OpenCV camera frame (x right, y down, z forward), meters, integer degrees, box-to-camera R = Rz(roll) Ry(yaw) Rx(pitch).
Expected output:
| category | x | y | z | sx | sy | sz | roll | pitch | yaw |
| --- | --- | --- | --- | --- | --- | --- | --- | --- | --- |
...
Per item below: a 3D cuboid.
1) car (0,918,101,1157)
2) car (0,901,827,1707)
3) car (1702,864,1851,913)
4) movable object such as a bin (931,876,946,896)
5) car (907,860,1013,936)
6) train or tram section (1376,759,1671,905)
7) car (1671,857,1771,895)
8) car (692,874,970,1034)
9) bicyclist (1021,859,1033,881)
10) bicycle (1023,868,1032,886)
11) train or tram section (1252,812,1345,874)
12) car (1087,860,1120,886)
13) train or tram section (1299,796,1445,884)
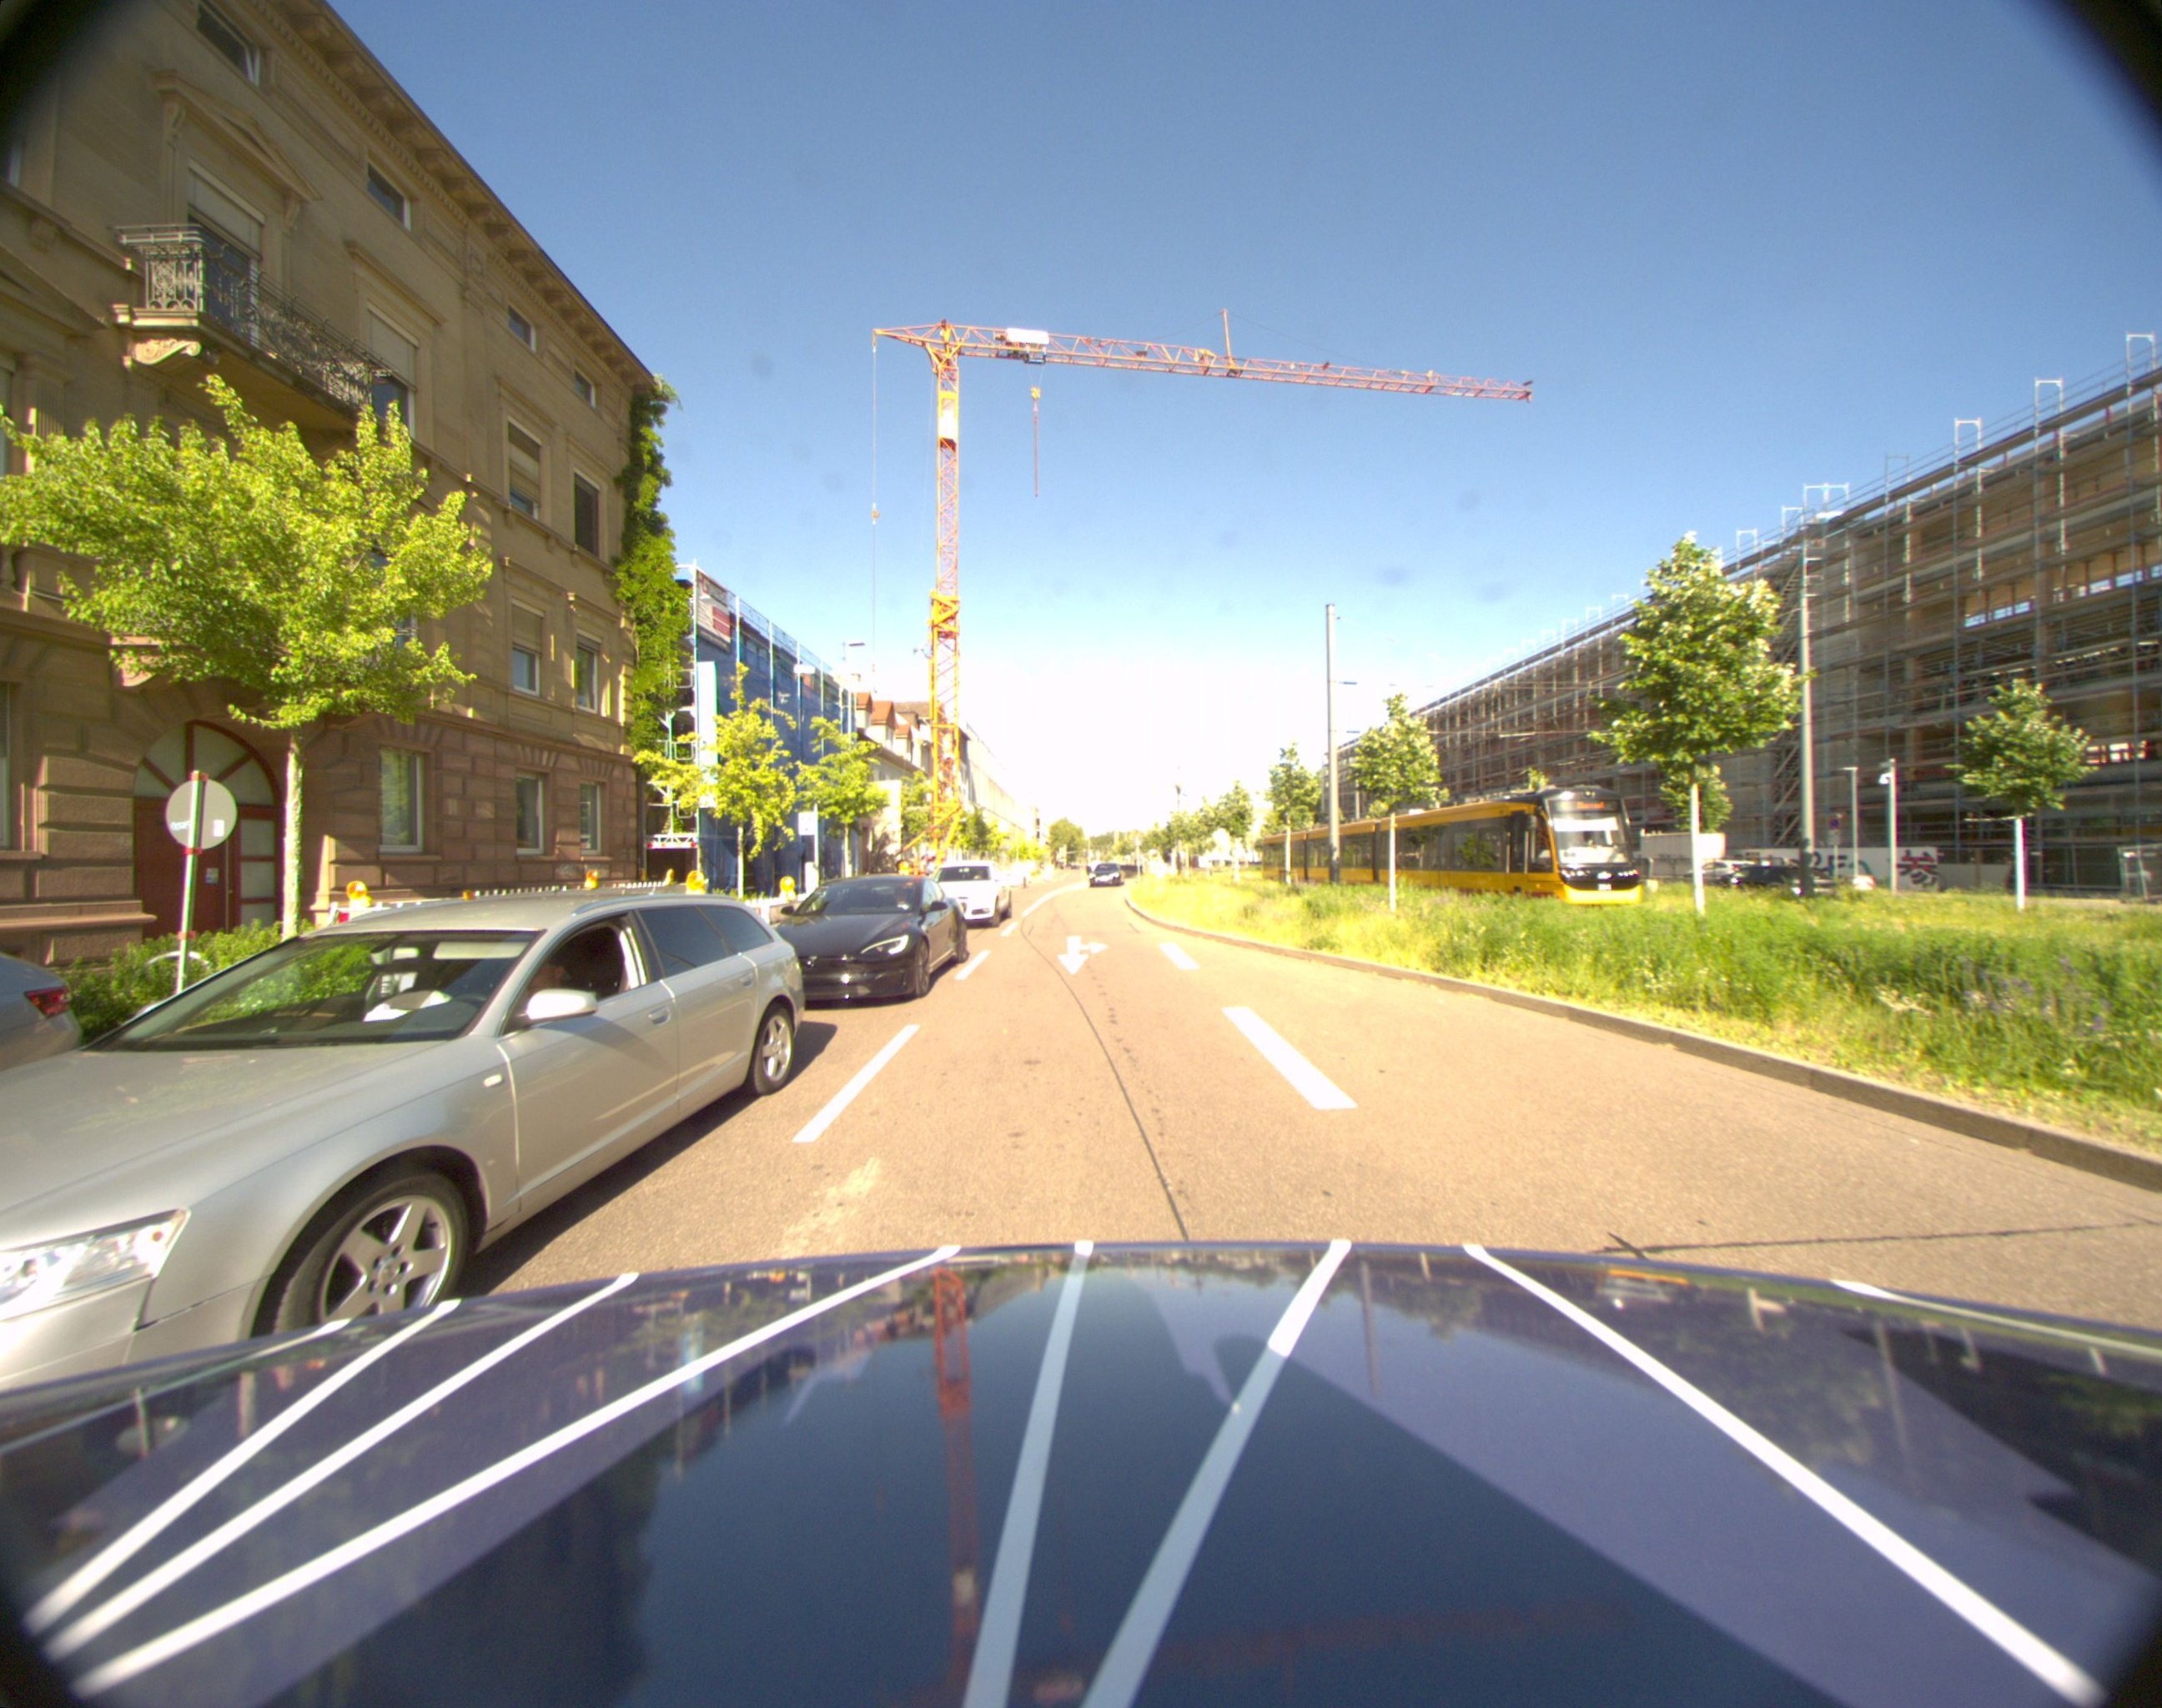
| category | x | y | z | sx | sy | sz | roll | pitch | yaw |
| --- | --- | --- | --- | --- | --- | --- | --- | --- | --- |
| car | -7.699 | 1.166 | 2.959 | 1.652 | 1.466 | 4.700 | 2 | 0 | 0 |
| car | -3.033 | 1.096 | 3.715 | 1.752 | 1.419 | 4.839 | -1 | 0 | 2 |
| car | 28.157 | 1.342 | 31.016 | 1.998 | 1.782 | 4.527 | -1 | 0 | 1 |
| movable object such as a bin | -7.658 | 1.703 | 40.737 | 0.597 | 1.051 | 0.730 | 3 | 0 | 1 |
| car | -2.916 | 1.014 | 19.232 | 1.934 | 1.624 | 4.000 | -2 | 0 | 1 |
| train or tram section | 13.512 | -0.545 | 25.343 | 2.822 | 3.617 | 12.791 | 0 | 0 | 2 |
| car | 34.133 | 1.121 | 40.678 | 1.914 | 1.907 | 3.985 | -1 | 0 | -1 |
| car | -2.823 | 1.054 | 9.851 | 2.056 | 1.435 | 4.524 | -2 | 0 | 0 |
| bicyclist | -3.525 | 1.040 | 49.683 | 0.755 | 1.454 | 0.587 | -2 | 1 | -5 |
| bicycle | -3.508 | 1.480 | 49.703 | 0.610 | 1.144 | 1.986 | 0 | 0 | -5 |
| train or tram section | 14.174 | -0.645 | 50.932 | 2.822 | 3.617 | 12.790 | 0 | 0 | 1 |
| car | 1.400 | 1.131 | 46.617 | 1.927 | 1.434 | 4.178 | -1 | 0 | 3 |
| train or tram section | 13.987 | -0.576 | 38.130 | 2.822 | 3.617 | 12.791 | 0 | 0 | 2 |
